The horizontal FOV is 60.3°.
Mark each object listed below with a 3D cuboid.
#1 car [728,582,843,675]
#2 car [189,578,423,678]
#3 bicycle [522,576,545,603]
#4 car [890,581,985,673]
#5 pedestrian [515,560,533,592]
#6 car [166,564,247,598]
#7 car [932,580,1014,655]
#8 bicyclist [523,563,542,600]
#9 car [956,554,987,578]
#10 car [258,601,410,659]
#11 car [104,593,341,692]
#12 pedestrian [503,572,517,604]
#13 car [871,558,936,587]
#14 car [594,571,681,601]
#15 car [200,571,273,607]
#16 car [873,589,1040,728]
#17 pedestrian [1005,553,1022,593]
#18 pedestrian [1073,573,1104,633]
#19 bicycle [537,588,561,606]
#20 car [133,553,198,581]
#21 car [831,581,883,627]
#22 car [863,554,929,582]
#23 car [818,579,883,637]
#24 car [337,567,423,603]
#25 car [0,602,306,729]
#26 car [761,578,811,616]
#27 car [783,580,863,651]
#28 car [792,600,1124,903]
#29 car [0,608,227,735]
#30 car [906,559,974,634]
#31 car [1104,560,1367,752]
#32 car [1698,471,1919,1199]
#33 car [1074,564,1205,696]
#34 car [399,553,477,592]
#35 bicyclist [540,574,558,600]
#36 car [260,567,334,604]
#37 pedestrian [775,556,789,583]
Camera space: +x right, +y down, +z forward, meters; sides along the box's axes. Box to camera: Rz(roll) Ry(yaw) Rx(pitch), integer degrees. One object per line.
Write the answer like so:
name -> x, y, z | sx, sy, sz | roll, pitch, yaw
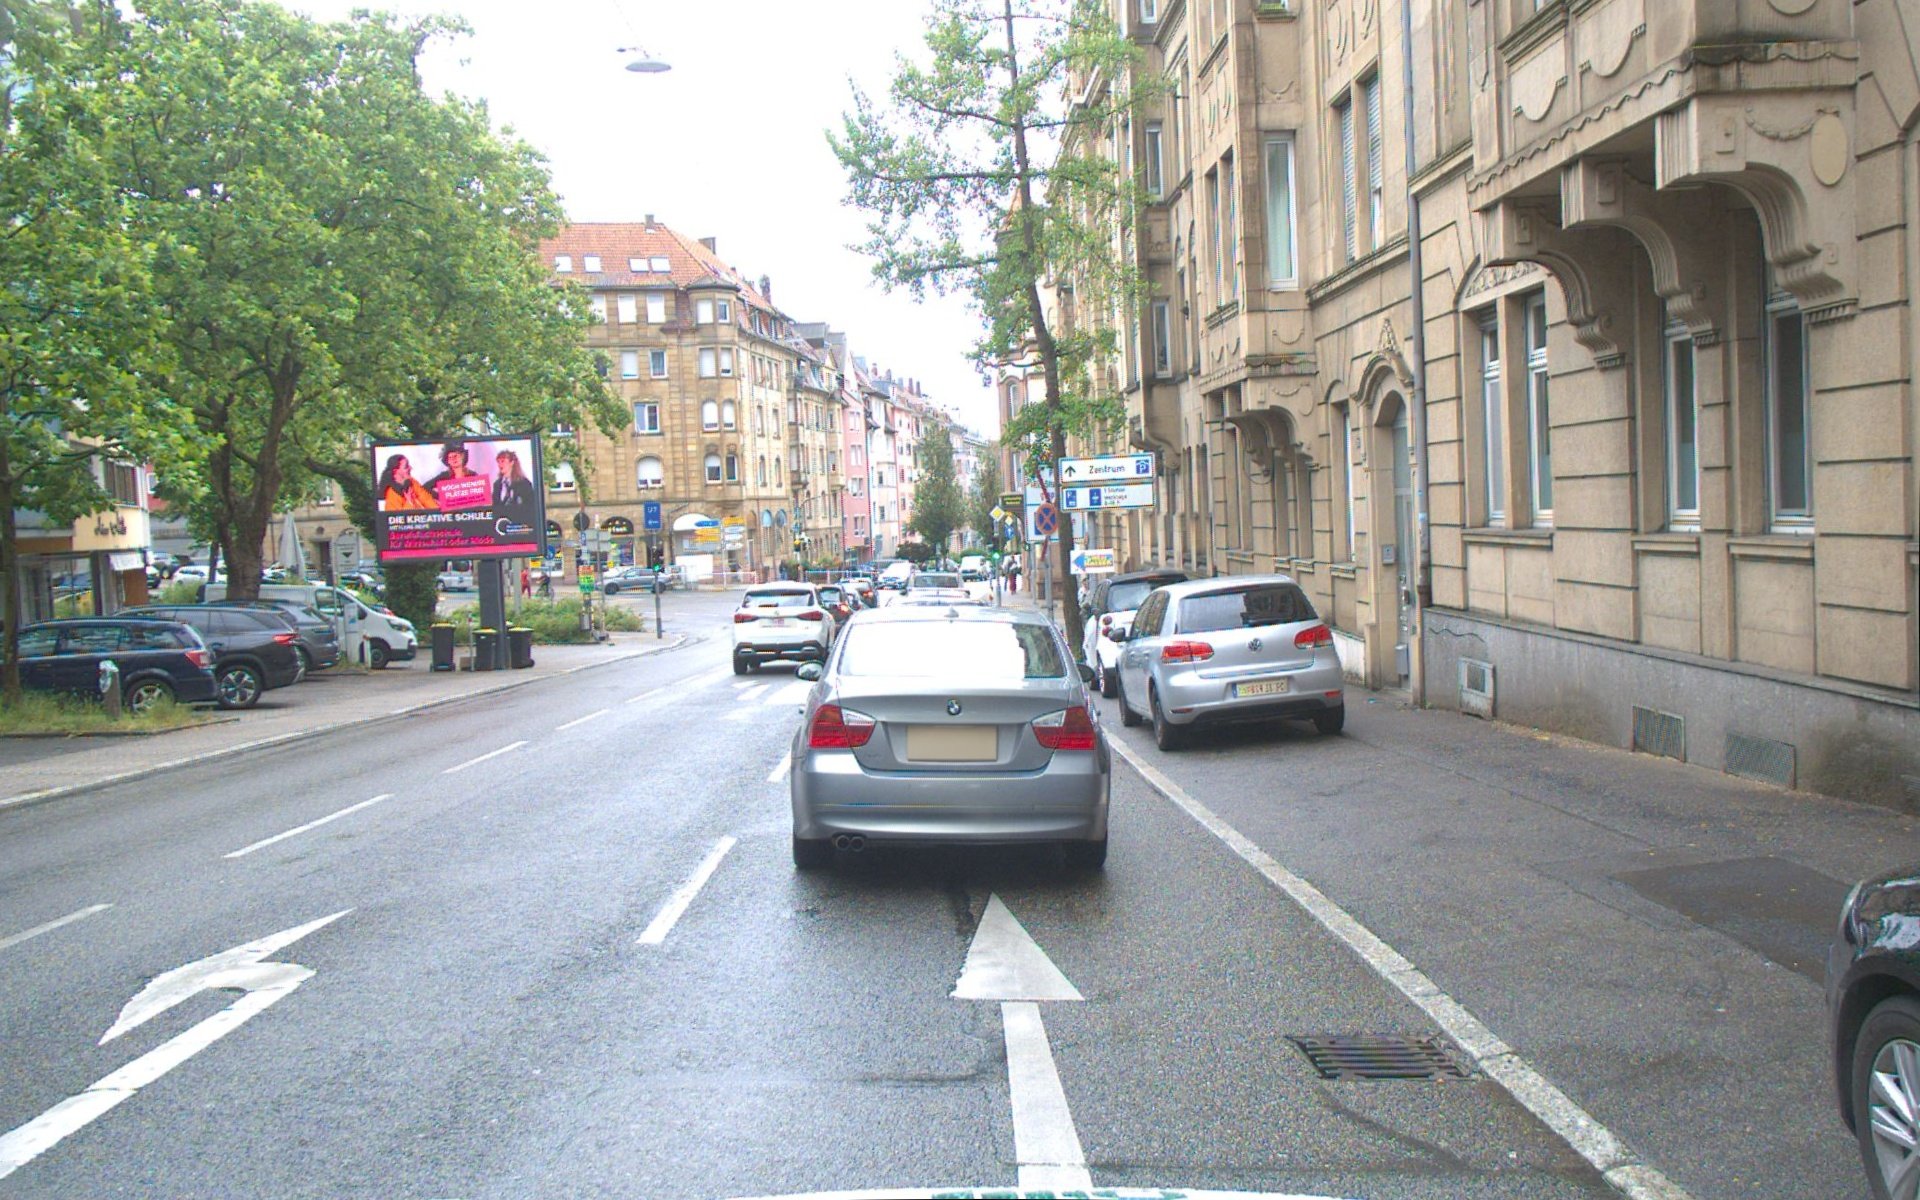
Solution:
car -> -3.273, 0.489, 31.644 | 1.830, 1.654, 3.999 | -1, 0, -1
car -> -15.450, 0.624, 39.270 | 4.989, 2.142, 1.979 | -2, 0, -22
bicycle -> -21.679, -0.539, 84.092 | 0.658, 1.343, 2.273 | -3, 1, -5
car -> -0.359, 0.432, 29.533 | 1.562, 1.490, 4.000 | -1, 1, 0
pedestrian -> -22.235, -1.237, 84.386 | 0.525, 1.605, 0.719 | -2, 0, 21
car -> -41.990, -1.073, 92.167 | 4.155, 1.756, 1.998 | 0, 3, 29
car -> 0.255, 0.358, 37.926 | 1.724, 1.594, 3.999 | -1, 1, -2
bicyclist -> -21.794, -0.926, 84.281 | 0.771, 1.852, 0.765 | -3, 0, -22
car -> 0.842, -2.418, 119.607 | 1.951, 1.606, 4.002 | 1, 0, 5
car -> -17.689, 0.835, 46.809 | 3.916, 1.476, 1.757 | -2, 0, -22
car -> -15.021, 0.838, 33.949 | 4.295, 1.815, 1.927 | -2, 0, -22
pedestrian -> -23.416, -0.629, 86.119 | 0.577, 1.663, 0.390 | 1, -1, -1
car -> -3.308, -1.590, 96.861 | 1.957, 1.606, 3.991 | 1, 0, 31
car -> -18.046, -0.763, 92.452 | 4.565, 1.606, 1.991 | 1, 0, -17
car -> -45.435, -0.701, 103.826 | 4.196, 2.138, 1.998 | 2, 2, 28
car -> -0.022, 0.595, 19.200 | 1.723, 1.407, 4.000 | -1, 1, 0
pedestrian -> 2.636, -1.317, 81.857 | 0.727, 1.943, 0.659 | -2, 0, -2
pedestrian -> 3.420, 0.066, 44.137 | 0.618, 1.534, 0.693 | -6, 0, -2
bicycle -> -20.859, -0.138, 84.046 | 0.561, 0.873, 1.523 | 1, 0, 12
car -> -51.356, -2.134, 106.877 | 3.909, 1.718, 1.726 | 1, 0, 27
car -> -3.958, 0.131, 64.163 | 1.723, 1.737, 4.000 | -1, 1, 0
car -> -4.991, -2.469, 129.792 | 5.072, 2.049, 2.698 | 1, 0, -1
car -> -3.373, 0.217, 51.506 | 1.723, 1.737, 4.000 | -1, 1, 0
car -> -30.035, -0.791, 85.639 | 4.157, 1.756, 1.997 | 1, 2, 30
car -> -12.893, 0.988, 26.617 | 4.308, 1.701, 1.842 | -3, 1, -24
car -> -7.149, -0.152, 68.207 | 1.680, 1.476, 3.741 | -2, 0, -1
car -> -3.526, 0.367, 43.195 | 1.723, 1.737, 4.000 | -1, 1, 0
car -> 0.002, 0.732, 9.808 | 1.590, 1.407, 3.615 | -1, 1, 0
car -> -13.009, 1.027, 23.926 | 4.299, 1.601, 1.929 | -3, 1, -24
car -> -0.597, -0.115, 49.395 | 1.953, 2.143, 3.999 | 0, 0, -1
car -> 2.564, 0.468, 16.327 | 1.725, 1.476, 3.999 | -6, 1, -1
car -> 2.732, 0.513, 1.969 | 1.724, 1.679, 4.098 | -6, 1, 0
car -> 2.413, 0.375, 22.789 | 1.273, 1.569, 2.975 | -6, 1, -1
car -> -30.376, -1.629, 96.214 | 4.196, 2.138, 1.998 | 2, 2, 28
bicyclist -> -20.867, -0.663, 83.938 | 0.557, 1.295, 0.689 | 1, -1, 20
car -> -40.765, -0.902, 101.733 | 4.196, 2.138, 1.998 | 2, 2, 28
pedestrian -> -10.833, -1.869, 100.715 | 0.716, 1.605, 0.528 | -2, 0, 8
